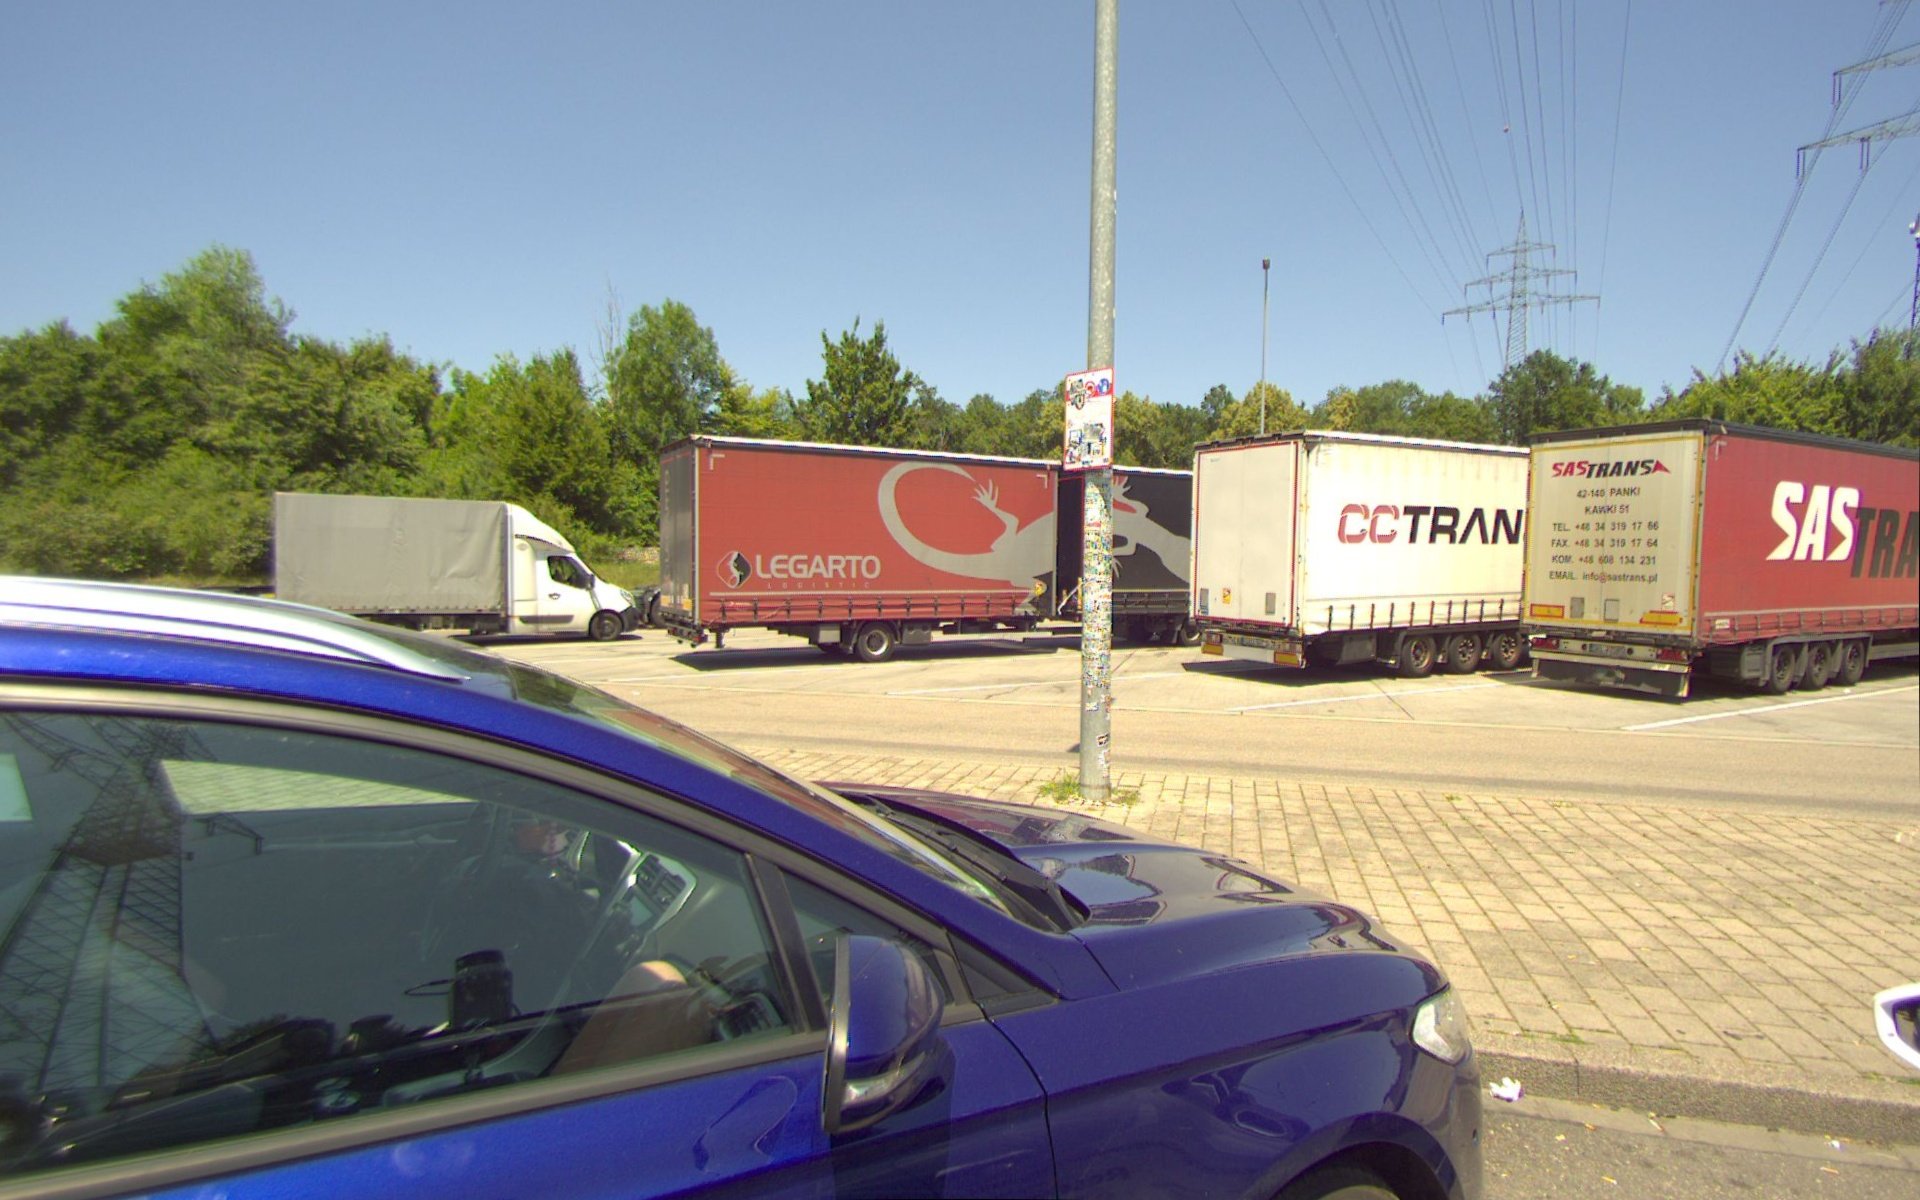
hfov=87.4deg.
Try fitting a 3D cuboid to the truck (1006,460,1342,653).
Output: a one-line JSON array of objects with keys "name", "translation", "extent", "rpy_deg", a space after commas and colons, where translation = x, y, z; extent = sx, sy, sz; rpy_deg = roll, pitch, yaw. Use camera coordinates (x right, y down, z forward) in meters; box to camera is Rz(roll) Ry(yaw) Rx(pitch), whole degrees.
[{"name": "truck", "translation": [5.403, -0.913, 24.585], "extent": [8.534, 4.073, 2.624], "rpy_deg": [0, 1, -30]}]

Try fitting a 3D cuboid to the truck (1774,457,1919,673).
[{"name": "truck", "translation": [20.821, -0.674, 21.775], "extent": [6.749, 4.136, 2.729], "rpy_deg": [0, 1, -31]}]

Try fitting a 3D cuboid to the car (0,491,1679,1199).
[{"name": "car", "translation": [-1.006, 0.656, 1.467], "extent": [4.419, 1.485, 1.765], "rpy_deg": [0, 1, -32]}]

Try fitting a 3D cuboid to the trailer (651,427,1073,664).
[{"name": "trailer", "translation": [-1.788, -0.920, 20.312], "extent": [8.158, 4.027, 2.651], "rpy_deg": [0, 1, -31]}]

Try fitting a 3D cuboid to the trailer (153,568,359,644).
[{"name": "trailer", "translation": [-16.503, 0.141, 23.778], "extent": [3.856, 1.684, 1.464], "rpy_deg": [0, 1, -30]}]

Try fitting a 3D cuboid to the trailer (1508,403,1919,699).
[{"name": "trailer", "translation": [15.270, -0.671, 18.491], "extent": [13.129, 4.112, 2.736], "rpy_deg": [0, 1, -31]}]

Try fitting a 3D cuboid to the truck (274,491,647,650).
[{"name": "truck", "translation": [-11.115, -0.609, 22.914], "extent": [7.265, 3.170, 2.352], "rpy_deg": [0, 1, -30]}]

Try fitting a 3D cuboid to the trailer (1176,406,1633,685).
[{"name": "trailer", "translation": [8.714, -0.831, 19.109], "extent": [9.614, 4.321, 2.733], "rpy_deg": [0, 1, -29]}]
